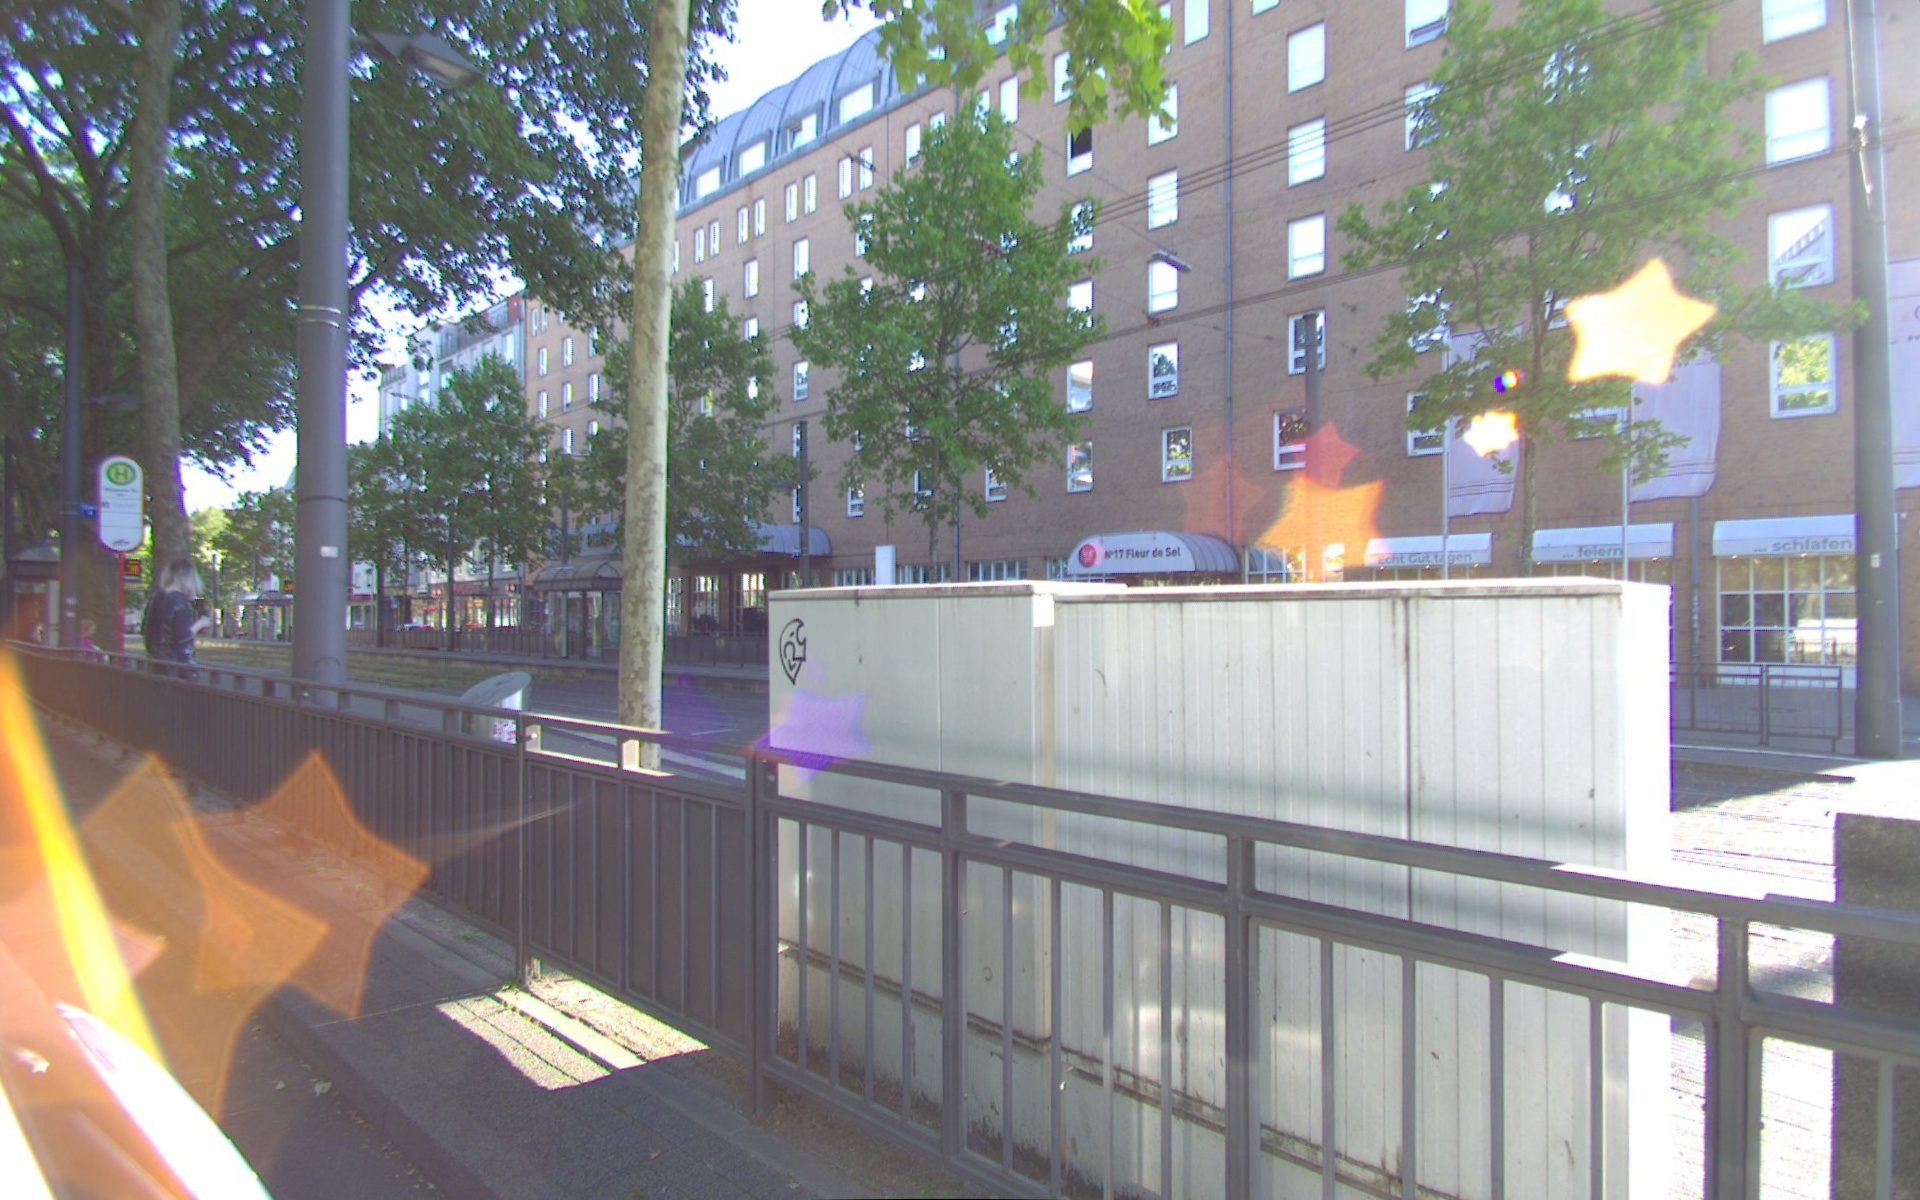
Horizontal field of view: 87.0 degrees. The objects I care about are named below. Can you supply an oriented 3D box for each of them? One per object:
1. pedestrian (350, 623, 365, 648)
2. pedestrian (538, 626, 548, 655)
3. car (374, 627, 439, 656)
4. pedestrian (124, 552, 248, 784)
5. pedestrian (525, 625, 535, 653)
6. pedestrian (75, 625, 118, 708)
[{"bbox_3d":[-48.923,2.866,82.207,0.763,2.029,0.796,-2,-2,41],"label":"pedestrian"},{"bbox_3d":[-22.635,2.191,54.938,0.431,1.532,0.660,1,-2,-27],"label":"pedestrian"},{"bbox_3d":[-29.863,2.233,54.547,4.308,1.500,1.736,-1,-2,42],"label":"car"},{"bbox_3d":[-6.633,0.549,8.684,0.602,1.897,0.618,1,0,23],"label":"pedestrian"},{"bbox_3d":[-23.180,2.094,54.573,0.431,1.518,0.660,1,-2,-27],"label":"pedestrian"},{"bbox_3d":[-13.956,1.063,16.355,0.493,1.325,0.419,1,-2,-41],"label":"pedestrian"}]
